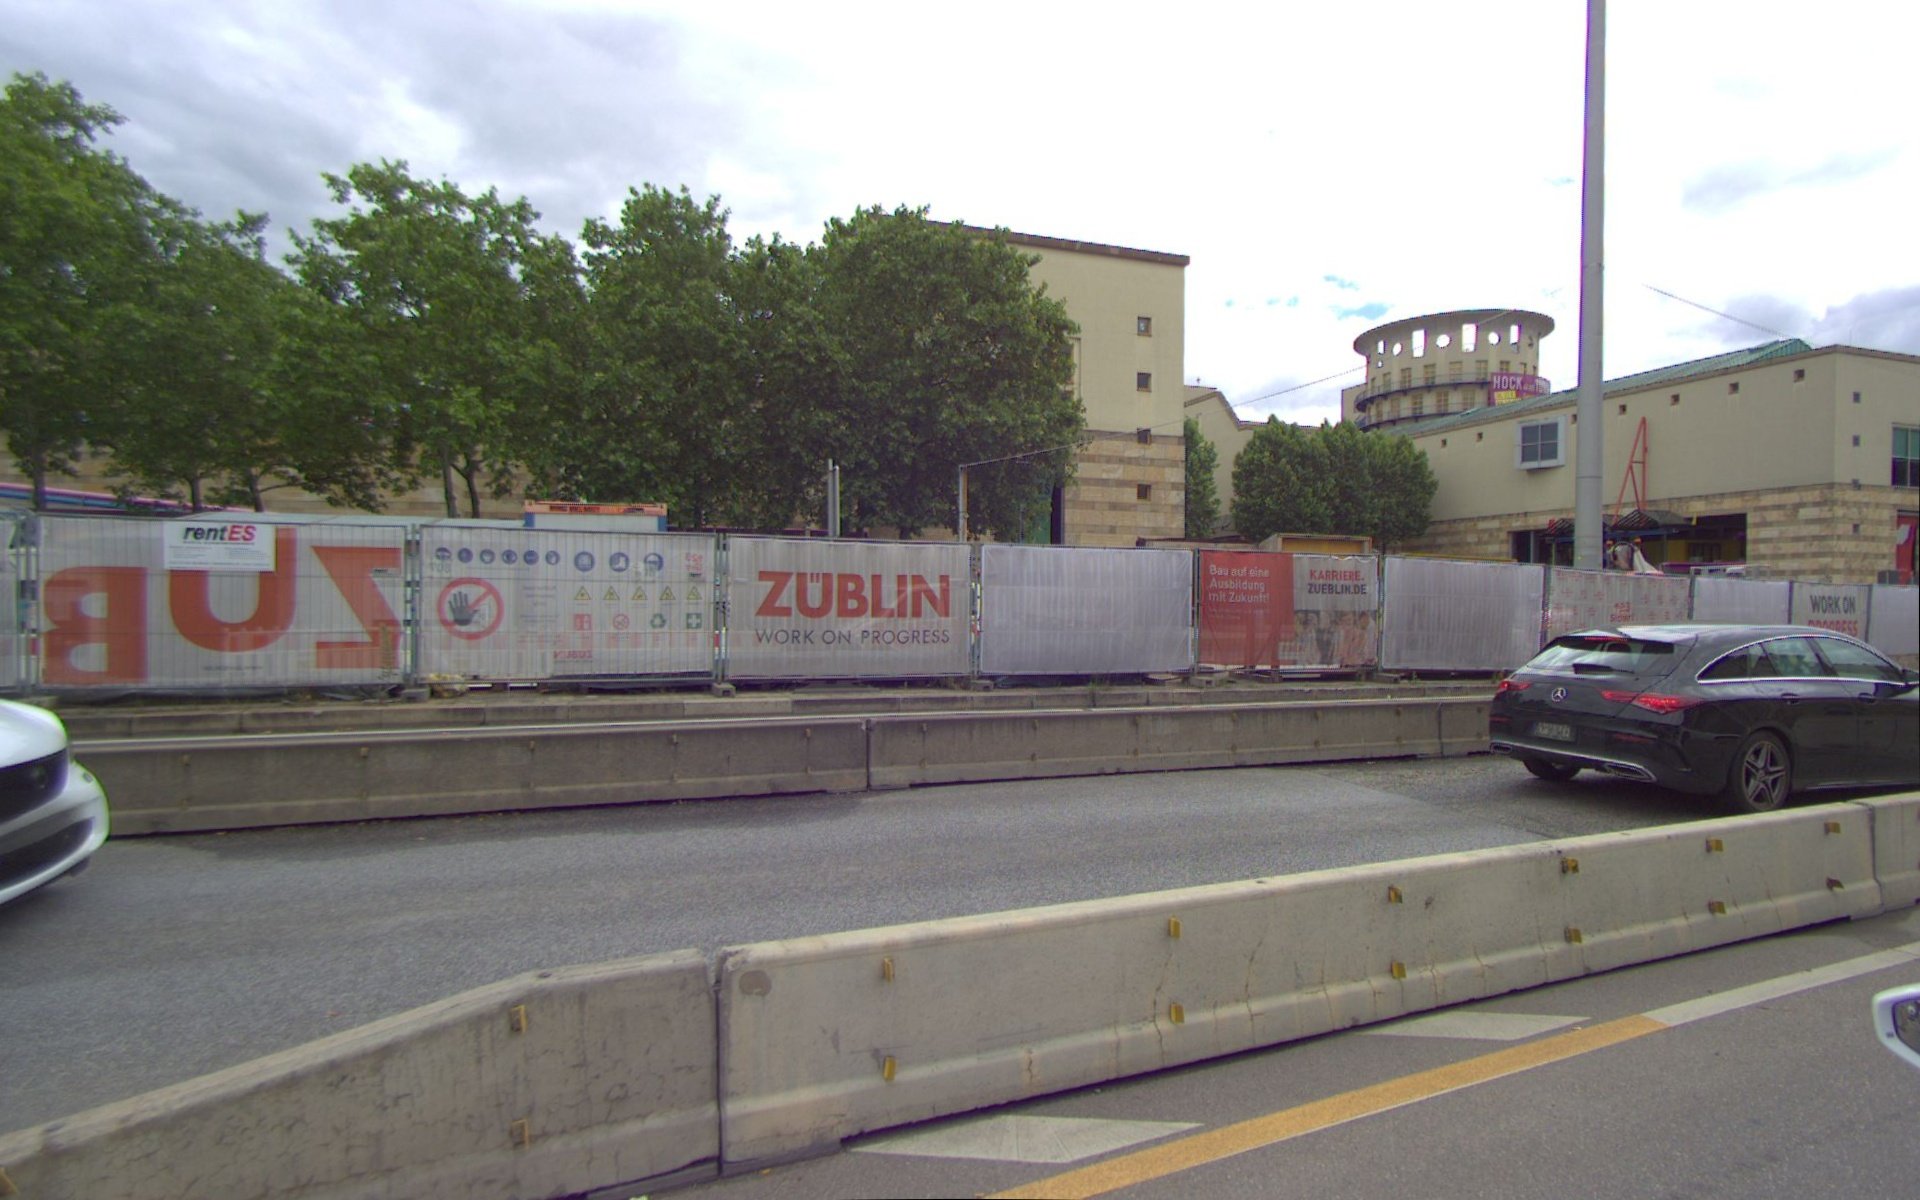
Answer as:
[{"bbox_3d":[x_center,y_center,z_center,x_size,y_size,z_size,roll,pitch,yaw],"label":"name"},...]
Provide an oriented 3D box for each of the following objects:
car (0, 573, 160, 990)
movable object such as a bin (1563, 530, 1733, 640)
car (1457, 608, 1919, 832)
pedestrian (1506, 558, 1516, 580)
[{"bbox_3d":[-5.306,0.665,3.993,2.958,1.576,1.627,1,1,-22],"label":"car"},{"bbox_3d":[14.698,-0.296,21.471,3.247,2.214,1.517,0,1,-24],"label":"movable object such as a bin"},{"bbox_3d":[6.628,0.844,8.447,4.498,1.434,1.850,1,2,-22],"label":"car"},{"bbox_3d":[50.233,-2.827,91.535,0.591,2.041,0.411,1,3,-19],"label":"pedestrian"}]
